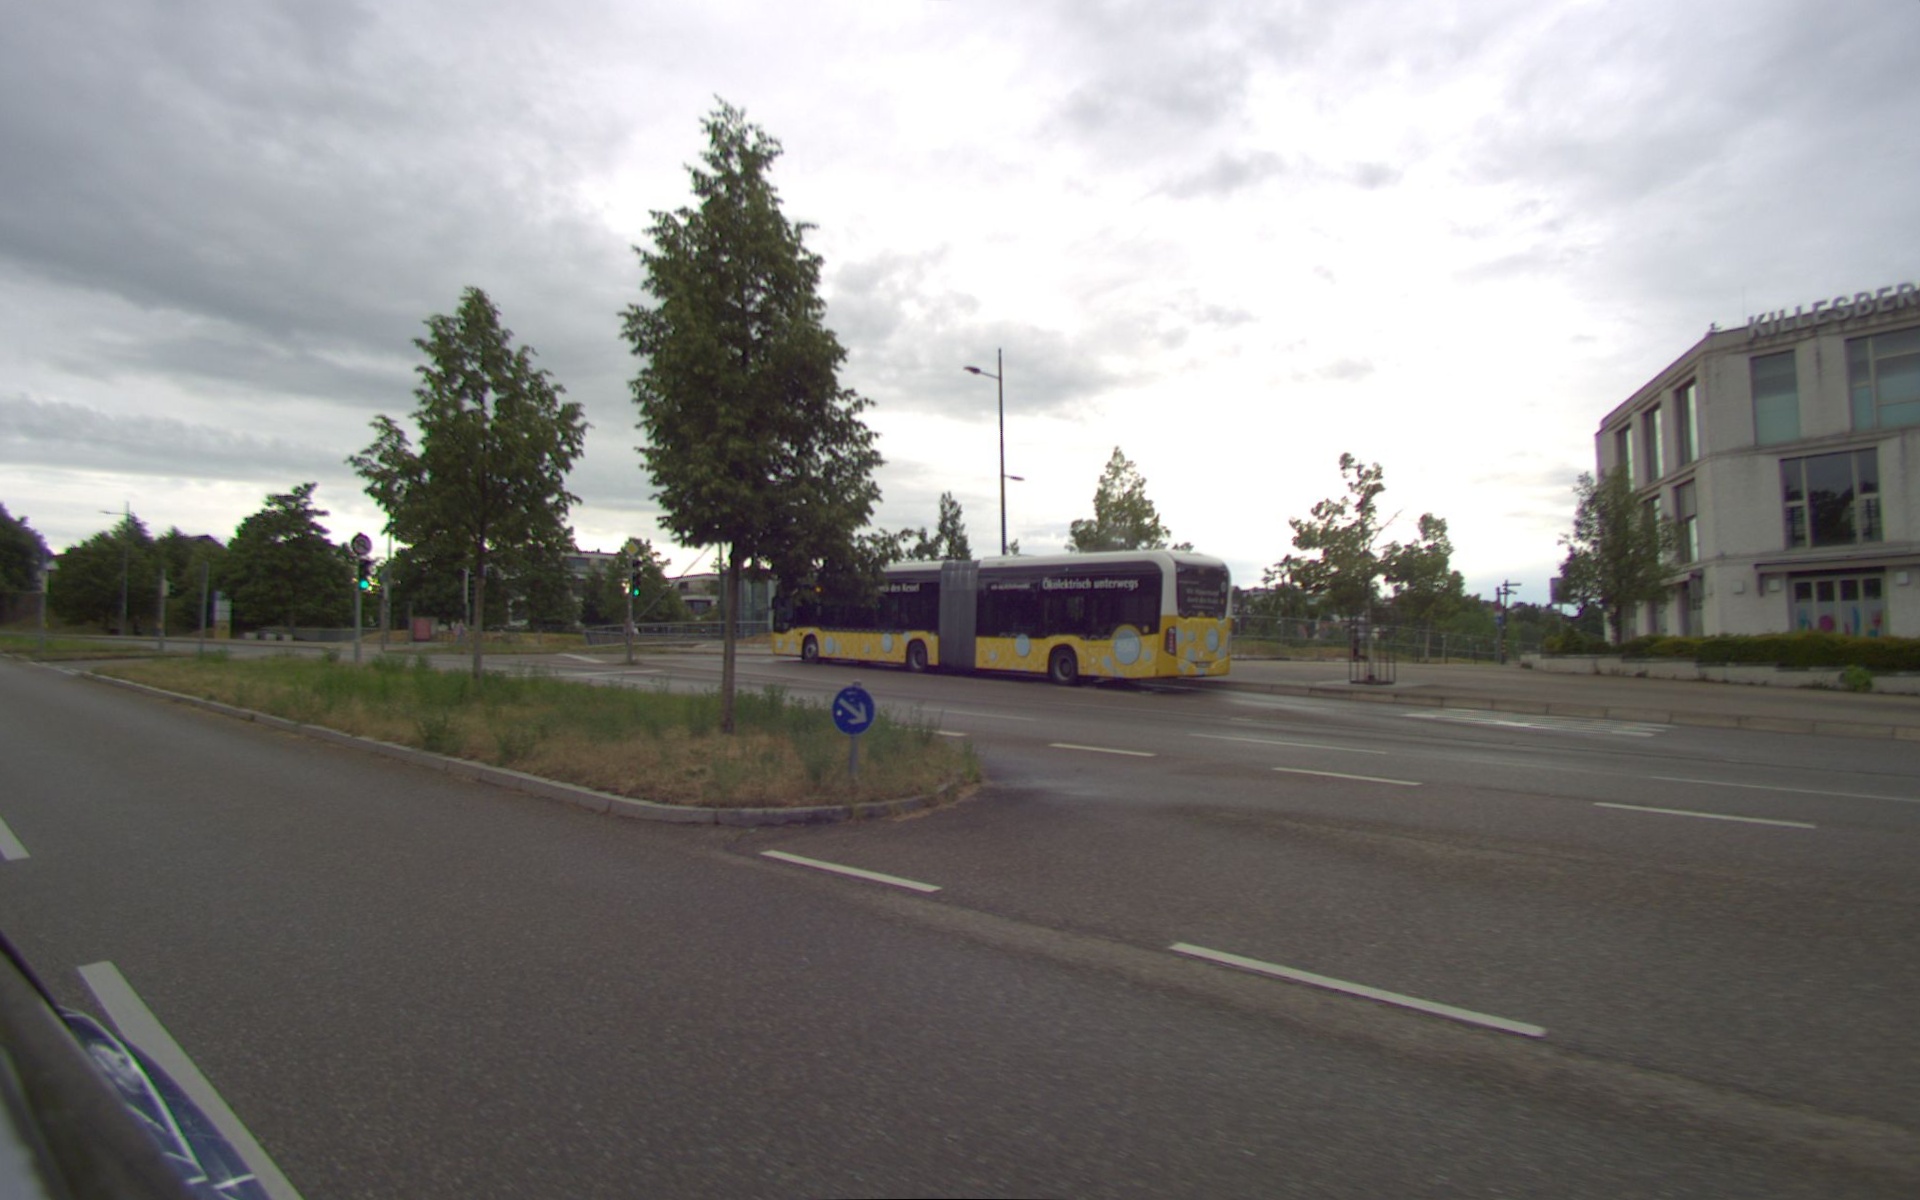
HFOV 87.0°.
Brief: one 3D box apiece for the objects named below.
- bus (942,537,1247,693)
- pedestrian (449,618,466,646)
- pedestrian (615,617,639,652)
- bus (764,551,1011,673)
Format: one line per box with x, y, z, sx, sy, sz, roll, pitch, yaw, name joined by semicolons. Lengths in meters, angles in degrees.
3.236;0.351;26.773;2.786;3.498;8.243;0;0;-41;bus
-29.316;1.872;59.021;0.811;1.606;0.608;-4;-4;37;pedestrian
-15.331;1.588;46.638;0.668;1.606;0.816;-3;-3;20;pedestrian
-2.758;0.371;33.710;2.786;3.498;9.989;0;0;-41;bus
